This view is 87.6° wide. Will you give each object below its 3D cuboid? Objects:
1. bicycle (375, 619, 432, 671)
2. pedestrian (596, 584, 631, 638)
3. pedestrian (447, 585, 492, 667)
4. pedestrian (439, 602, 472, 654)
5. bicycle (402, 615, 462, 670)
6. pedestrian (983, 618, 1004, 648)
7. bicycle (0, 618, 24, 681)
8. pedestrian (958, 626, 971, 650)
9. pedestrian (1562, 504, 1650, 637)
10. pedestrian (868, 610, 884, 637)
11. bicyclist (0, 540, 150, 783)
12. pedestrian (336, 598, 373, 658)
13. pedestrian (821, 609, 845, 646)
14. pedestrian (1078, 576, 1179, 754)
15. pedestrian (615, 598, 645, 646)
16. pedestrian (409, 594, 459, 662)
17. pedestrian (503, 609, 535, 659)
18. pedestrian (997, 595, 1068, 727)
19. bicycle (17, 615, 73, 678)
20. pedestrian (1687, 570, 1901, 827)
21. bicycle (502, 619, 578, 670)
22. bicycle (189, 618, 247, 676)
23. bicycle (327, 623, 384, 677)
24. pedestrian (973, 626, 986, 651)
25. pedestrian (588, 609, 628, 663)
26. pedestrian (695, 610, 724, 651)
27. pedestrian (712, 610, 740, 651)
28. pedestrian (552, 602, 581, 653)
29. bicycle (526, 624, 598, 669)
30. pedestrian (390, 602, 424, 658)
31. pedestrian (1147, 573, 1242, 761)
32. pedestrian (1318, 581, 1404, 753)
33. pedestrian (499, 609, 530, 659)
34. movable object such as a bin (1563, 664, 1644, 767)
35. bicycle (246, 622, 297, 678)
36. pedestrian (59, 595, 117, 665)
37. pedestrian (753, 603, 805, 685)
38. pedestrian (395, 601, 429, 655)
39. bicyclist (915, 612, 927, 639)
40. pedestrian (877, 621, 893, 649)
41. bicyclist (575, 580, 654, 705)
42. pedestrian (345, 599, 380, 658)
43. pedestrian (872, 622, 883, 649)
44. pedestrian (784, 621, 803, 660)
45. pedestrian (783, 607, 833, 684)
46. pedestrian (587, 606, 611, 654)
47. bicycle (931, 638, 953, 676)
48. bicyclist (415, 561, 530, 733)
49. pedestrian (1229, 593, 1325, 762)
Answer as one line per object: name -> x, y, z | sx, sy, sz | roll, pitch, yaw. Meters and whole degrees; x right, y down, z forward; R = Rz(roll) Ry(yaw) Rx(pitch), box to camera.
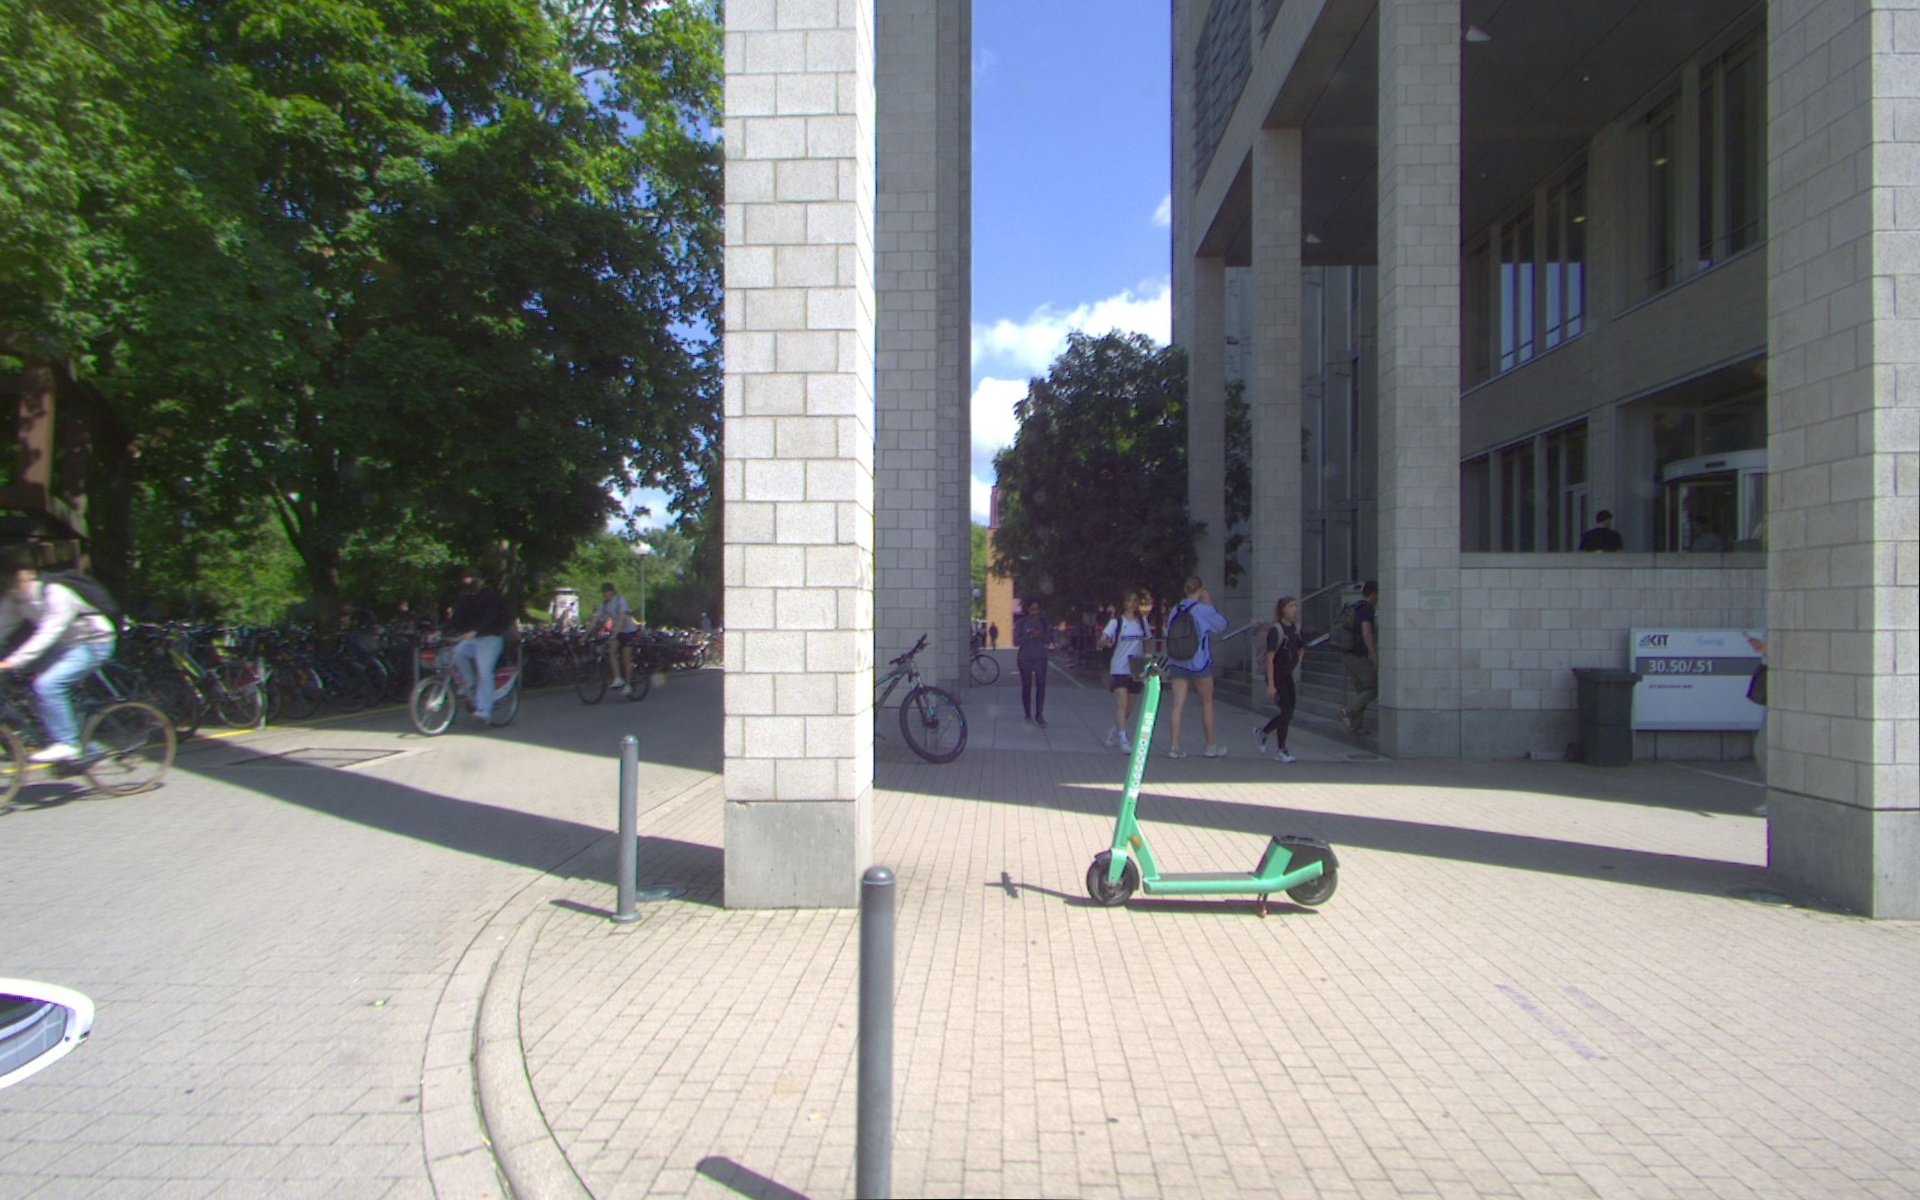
bicycle -> -12.546, 1.004, 22.552 | 1.679, 1.122, 0.499 | 0, -2, 39
pedestrian -> -12.012, 0.389, 34.697 | 0.677, 1.859, 0.935 | 0, 0, 37
pedestrian -> -11.233, 0.599, 22.932 | 0.761, 1.830, 0.704 | 2, -1, -39
pedestrian -> -16.703, 0.935, 33.158 | 0.894, 1.701, 0.766 | 2, -1, -31
bicycle -> -12.137, 0.964, 23.014 | 1.679, 1.215, 0.572 | 0, -2, 39
pedestrian -> 2.177, 2.139, 64.405 | 1.015, 1.881, 0.886 | 1, -1, 25
bicycle -> -17.664, 0.884, 18.314 | 0.496, 1.122, 1.768 | 2, -2, -35
pedestrian -> 0.339, 2.824, 74.908 | 0.887, 1.749, 0.685 | 0, -3, 3
pedestrian -> 9.091, -0.395, 14.121 | 0.689, 1.827, 0.883 | 0, 0, 4
pedestrian -> -5.894, 1.637, 70.475 | 0.773, 1.869, 1.115 | 2, -1, -21
bicyclist -> -6.400, 0.409, 7.051 | 0.630, 1.594, 0.872 | 2, 0, 26
pedestrian -> -18.454, 0.866, 30.542 | 0.894, 1.797, 0.766 | 2, -1, -31
pedestrian -> -6.450, 1.382, 51.012 | 0.607, 1.859, 1.041 | 0, -2, 42
pedestrian -> 1.721, 0.650, 10.352 | 0.765, 1.746, 0.859 | 0, 0, -12
pedestrian -> -12.153, 0.811, 36.914 | 0.919, 1.746, 0.677 | 0, 0, -4
pedestrian -> -13.511, 0.720, 25.720 | 0.761, 1.725, 0.900 | 1, -1, 40
pedestrian -> -15.271, 1.161, 34.647 | 0.894, 1.701, 0.766 | 2, -1, -31
pedestrian -> 0.906, 0.764, 12.690 | 0.804, 1.594, 0.881 | 1, -1, -1
bicycle -> -17.067, 0.853, 18.710 | 0.496, 1.122, 1.768 | 2, -2, -35
pedestrian -> 5.779, 0.666, 6.977 | 0.866, 1.676, 0.703 | 2, 0, -5
bicycle -> -10.632, 1.119, 25.364 | 1.667, 1.235, 0.503 | 2, -1, -9
bicycle -> -15.093, 0.937, 20.362 | 1.681, 1.122, 0.626 | 0, -2, 43
bicycle -> -13.220, 1.074, 21.890 | 1.679, 1.122, 0.499 | 0, -2, 39
pedestrian -> 1.352, 2.679, 69.461 | 0.838, 1.672, 0.588 | 1, -2, 10
pedestrian -> -11.682, 1.183, 33.258 | 0.709, 1.746, 1.058 | 0, 0, 35
pedestrian -> -11.337, 1.388, 45.370 | 0.758, 1.827, 0.979 | 1, -1, 31
pedestrian -> -10.499, 1.364, 45.000 | 0.822, 1.838, 0.879 | 1, -1, 28
pedestrian -> -13.651, 0.957, 34.762 | 0.673, 1.746, 0.731 | 2, -1, 1
bicycle -> -10.487, 1.223, 26.416 | 1.667, 1.122, 0.503 | 2, -1, -9
pedestrian -> -18.009, 0.971, 32.618 | 0.894, 1.797, 0.766 | 2, -1, -31
pedestrian -> 2.311, 0.654, 9.816 | 0.635, 1.745, 0.862 | 0, -4, 33
pedestrian -> 4.409, 0.718, 11.018 | 0.675, 1.826, 0.587 | 0, 0, -27
pedestrian -> -15.738, 1.200, 35.356 | 0.894, 1.701, 0.766 | 2, -1, -31
movable object such as a bin -> 6.215, 1.100, 9.681 | 0.366, 0.950, 0.551 | 1, -1, -17
bicycle -> -14.479, 1.033, 21.041 | 1.681, 1.122, 0.498 | 0, -2, 43
pedestrian -> -22.800, 0.780, 26.205 | 0.892, 1.797, 0.768 | 2, -1, -20
pedestrian -> -3.829, 0.921, 21.142 | 0.888, 1.692, 0.670 | 0, 0, 40
pedestrian -> -17.442, 0.888, 31.851 | 0.894, 1.701, 0.766 | 2, -1, -31
bicyclist -> -2.545, 1.687, 65.068 | 0.759, 1.737, 0.912 | 0, -2, 0
pedestrian -> -5.042, 2.365, 67.495 | 0.773, 1.867, 0.680 | 3, -2, -35
bicyclist -> -5.507, 0.674, 15.991 | 0.790, 1.916, 0.867 | 2, -1, 11
pedestrian -> -18.694, 0.892, 31.332 | 0.894, 1.797, 0.766 | 2, -1, -31
pedestrian -> -5.031, 2.150, 61.251 | 0.559, 1.631, 0.919 | 1, -2, 1
pedestrian -> -7.333, 1.771, 44.169 | 0.755, 1.701, 0.907 | 0, 0, -6
pedestrian -> -3.329, 0.993, 21.914 | 0.800, 1.638, 0.734 | 1, -1, -43
pedestrian -> -13.432, 1.105, 37.212 | 0.677, 1.746, 0.727 | 0, 0, -34
bicycle -> -0.518, 1.654, 29.305 | 0.528, 1.052, 1.859 | 0, -2, 2
bicyclist -> -5.707, 0.543, 11.771 | 0.663, 1.911, 0.968 | 2, -1, 17
pedestrian -> 3.166, 0.749, 10.058 | 0.579, 1.620, 0.826 | 0, 0, -12
